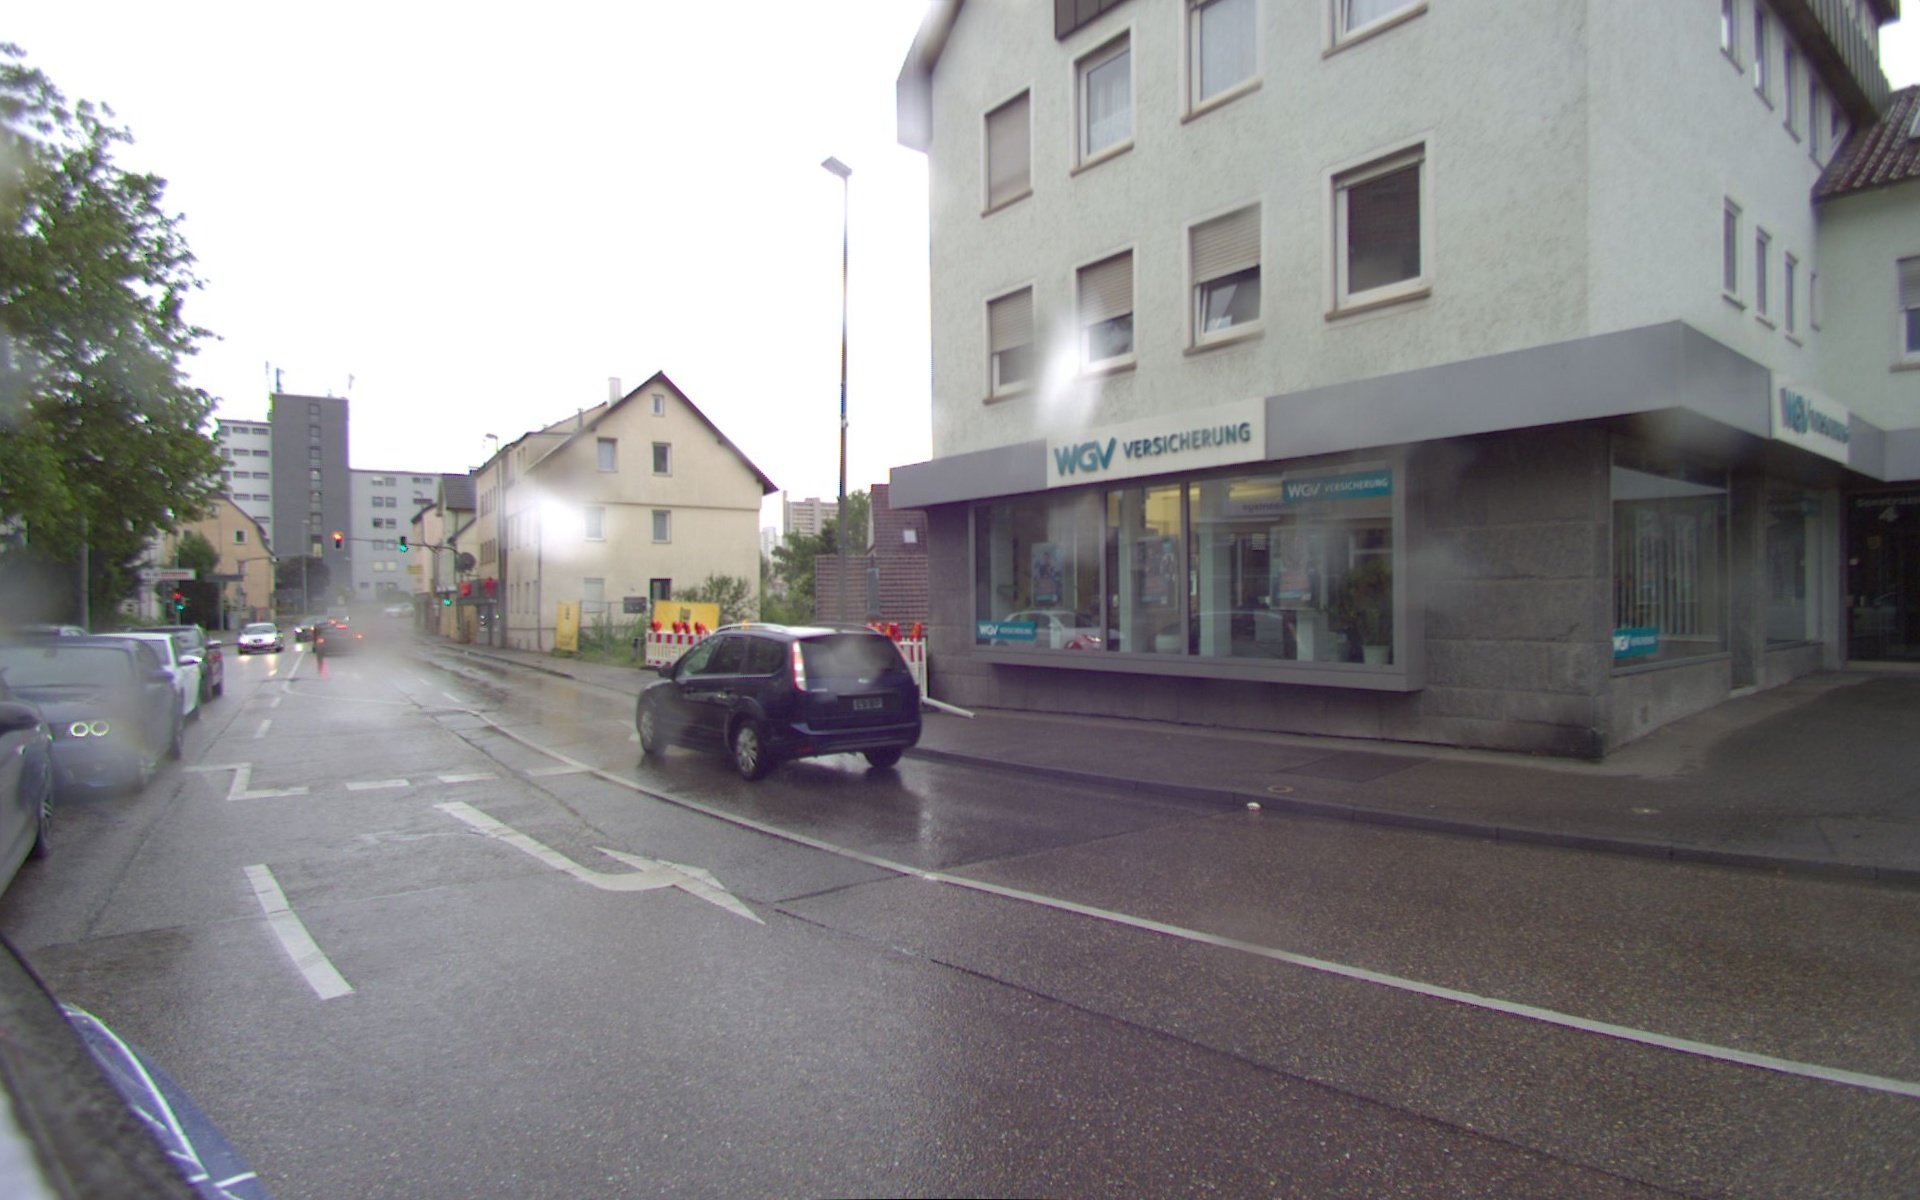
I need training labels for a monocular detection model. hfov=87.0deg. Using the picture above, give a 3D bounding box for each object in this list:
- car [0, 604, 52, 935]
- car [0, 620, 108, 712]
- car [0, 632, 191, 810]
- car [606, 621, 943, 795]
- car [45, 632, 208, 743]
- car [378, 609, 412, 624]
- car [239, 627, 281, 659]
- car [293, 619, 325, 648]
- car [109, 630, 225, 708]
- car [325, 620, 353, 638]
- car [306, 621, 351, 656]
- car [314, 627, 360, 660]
[{"bbox_3d":[-5.668,0.842,4.746,1.792,1.583,4.284,-1,-1,-38],"label":"car"},{"bbox_3d":[-20.090,1.361,21.755,1.904,1.794,4.748,0,-2,-30],"label":"car"},{"bbox_3d":[-8.764,1.044,9.933,1.615,1.443,3.816,1,-2,-33],"label":"car"},{"bbox_3d":[-2.206,1.035,11.078,1.710,1.522,4.279,1,-3,-41],"label":"car"},{"bbox_3d":[-12.833,1.243,15.786,1.660,1.432,4.010,-1,-1,-35],"label":"car"},{"bbox_3d":[-62.816,1.842,112.546,1.716,1.577,3.836,-1,-1,-1],"label":"car"},{"bbox_3d":[-36.183,2.214,52.377,1.589,1.515,3.728,-2,0,-33],"label":"car"},{"bbox_3d":[-44.491,2.242,69.175,1.764,1.866,3.846,-1,-1,-32],"label":"car"},{"bbox_3d":[-17.088,1.413,21.955,1.659,1.472,4.011,-1,-1,-34],"label":"car"},{"bbox_3d":[-56.199,2.596,91.575,1.763,1.577,3.848,-1,-1,-26],"label":"car"},{"bbox_3d":[-32.028,1.948,51.253,1.791,1.657,4.287,-1,-1,-34],"label":"car"},{"bbox_3d":[-28.299,1.945,45.935,1.684,1.394,3.679,-1,-1,-33],"label":"car"}]
